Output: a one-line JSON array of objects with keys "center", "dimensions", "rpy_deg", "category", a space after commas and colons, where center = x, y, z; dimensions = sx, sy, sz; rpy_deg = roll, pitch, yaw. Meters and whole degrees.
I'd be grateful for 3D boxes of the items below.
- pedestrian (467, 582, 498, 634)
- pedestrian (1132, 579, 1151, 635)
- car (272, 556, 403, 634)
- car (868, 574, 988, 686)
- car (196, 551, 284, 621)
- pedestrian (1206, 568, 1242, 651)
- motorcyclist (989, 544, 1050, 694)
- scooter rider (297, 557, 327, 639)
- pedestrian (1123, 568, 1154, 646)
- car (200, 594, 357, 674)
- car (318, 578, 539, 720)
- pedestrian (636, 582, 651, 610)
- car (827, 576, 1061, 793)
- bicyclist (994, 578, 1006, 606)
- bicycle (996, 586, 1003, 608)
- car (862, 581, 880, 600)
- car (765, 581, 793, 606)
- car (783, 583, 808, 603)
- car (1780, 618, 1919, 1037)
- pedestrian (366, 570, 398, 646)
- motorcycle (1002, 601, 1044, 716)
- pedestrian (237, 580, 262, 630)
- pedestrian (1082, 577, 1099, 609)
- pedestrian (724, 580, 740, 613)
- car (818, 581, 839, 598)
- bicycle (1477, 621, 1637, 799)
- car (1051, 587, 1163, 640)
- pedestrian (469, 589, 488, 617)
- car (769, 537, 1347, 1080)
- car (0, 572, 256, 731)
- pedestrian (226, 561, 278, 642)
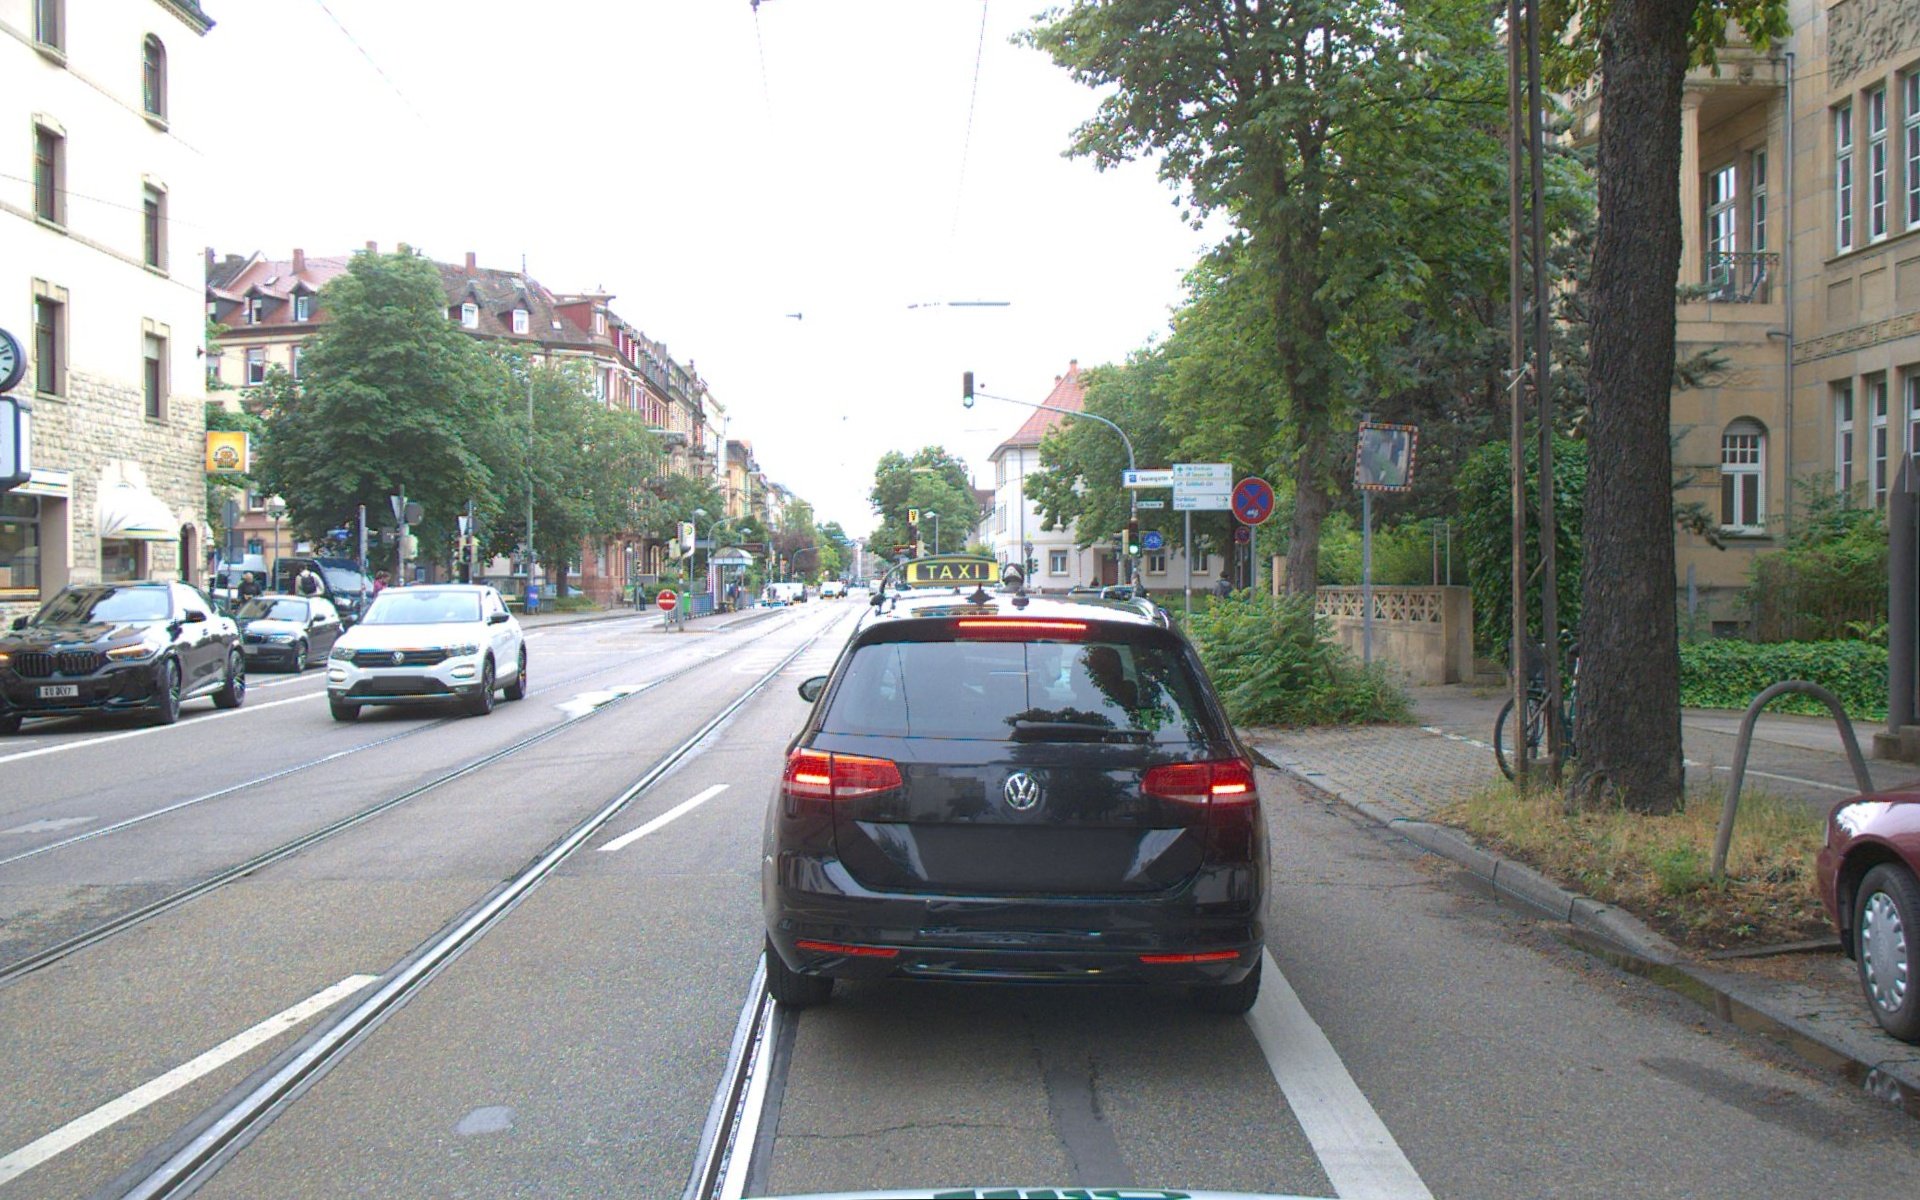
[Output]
[{"center": [-15.681, 0.245, 54.326], "dimensions": [0.819, 1.692, 0.591], "rpy_deg": [0, 0, -1], "category": "pedestrian"}, {"center": [6.103, 0.241, 55.682], "dimensions": [0.503, 1.862, 0.418], "rpy_deg": [-3, 0, 13], "category": "pedestrian"}, {"center": [-20.780, -0.176, 55.121], "dimensions": [2.170, 2.459, 5.292], "rpy_deg": [0, 1, -44], "category": "car"}, {"center": [-0.531, 0.404, 25.444], "dimensions": [1.689, 1.573, 3.998], "rpy_deg": [0, 1, -2], "category": "car"}, {"center": [-27.512, -0.535, 63.072], "dimensions": [2.160, 2.571, 5.316], "rpy_deg": [0, 0, -34], "category": "car"}, {"center": [5.884, 0.204, 36.897], "dimensions": [0.619, 1.846, 0.725], "rpy_deg": [0, 0, -5], "category": "pedestrian"}, {"center": [0.690, 0.212, 19.367], "dimensions": [0.688, 1.722, 0.804], "rpy_deg": [0, 0, 1], "category": "motorcyclist"}, {"center": [-16.261, -0.055, 41.525], "dimensions": [0.634, 2.049, 0.751], "rpy_deg": [0, 0, -26], "category": "scooter rider"}, {"center": [4.341, 0.171, 40.252], "dimensions": [0.573, 1.862, 0.604], "rpy_deg": [-3, 0, -1], "category": "pedestrian"}, {"center": [-13.318, 0.623, 32.562], "dimensions": [1.616, 1.385, 4.126], "rpy_deg": [2, 0, -5], "category": "car"}, {"center": [-6.361, 0.518, 20.212], "dimensions": [1.665, 1.522, 3.927], "rpy_deg": [-1, 1, -5], "category": "car"}, {"center": [-17.641, -0.211, 92.168], "dimensions": [0.577, 1.547, 0.647], "rpy_deg": [0, 0, 33], "category": "pedestrian"}, {"center": [-0.196, 0.598, 14.029], "dimensions": [1.689, 1.573, 3.998], "rpy_deg": [0, 1, -2], "category": "car"}, {"center": [2.268, -0.436, 94.429], "dimensions": [0.637, 1.595, 0.696], "rpy_deg": [0, 0, 4], "category": "bicyclist"}, {"center": [2.263, -0.171, 94.421], "dimensions": [0.291, 1.244, 1.431], "rpy_deg": [0, 0, 5], "category": "bicycle"}, {"center": [-10.042, -1.091, 187.284], "dimensions": [1.992, 2.049, 3.998], "rpy_deg": [1, 0, -2], "category": "car"}, {"center": [-12.232, -0.469, 111.907], "dimensions": [1.686, 1.651, 3.861], "rpy_deg": [0, 1, -3], "category": "car"}, {"center": [-12.623, -0.542, 126.955], "dimensions": [1.686, 1.490, 3.861], "rpy_deg": [0, 0, -3], "category": "car"}, {"center": [4.165, 0.798, 4.530], "dimensions": [1.570, 1.423, 4.225], "rpy_deg": [-2, 1, -2], "category": "car"}, {"center": [-14.434, 0.188, 41.298], "dimensions": [0.611, 1.874, 0.609], "rpy_deg": [0, 0, -5], "category": "pedestrian"}, {"center": [0.730, 0.653, 19.388], "dimensions": [0.437, 1.257, 1.907], "rpy_deg": [0, 0, 1], "category": "motorcycle"}, {"center": [-25.122, 0.167, 58.481], "dimensions": [0.694, 1.745, 0.543], "rpy_deg": [0, 0, -43], "category": "pedestrian"}, {"center": [6.443, -0.354, 81.657], "dimensions": [0.604, 1.581, 0.574], "rpy_deg": [0, 0, -42], "category": "pedestrian"}, {"center": [-10.810, -0.155, 78.358], "dimensions": [0.699, 1.547, 0.589], "rpy_deg": [0, 0, -1], "category": "pedestrian"}, {"center": [-12.924, -1.042, 162.790], "dimensions": [1.758, 1.624, 4.000], "rpy_deg": [0, 1, 0], "category": "car"}, {"center": [4.440, 0.769, 12.227], "dimensions": [0.425, 1.219, 1.892], "rpy_deg": [0, -1, 42], "category": "bicycle"}, {"center": [4.358, 0.371, 48.553], "dimensions": [1.856, 1.432, 3.994], "rpy_deg": [0, 1, 29], "category": "car"}, {"center": [-20.553, 0.126, 70.648], "dimensions": [0.582, 1.189, 0.836], "rpy_deg": [0, 0, -31], "category": "pedestrian"}, {"center": [0.211, 0.589, 6.829], "dimensions": [1.689, 1.573, 3.998], "rpy_deg": [0, 1, -2], "category": "car"}, {"center": [-10.236, 0.554, 20.330], "dimensions": [1.849, 1.639, 4.874], "rpy_deg": [-3, 1, -11], "category": "car"}, {"center": [-18.191, 0.041, 42.517], "dimensions": [0.954, 2.049, 0.835], "rpy_deg": [-1, 0, -3], "category": "pedestrian"}]
